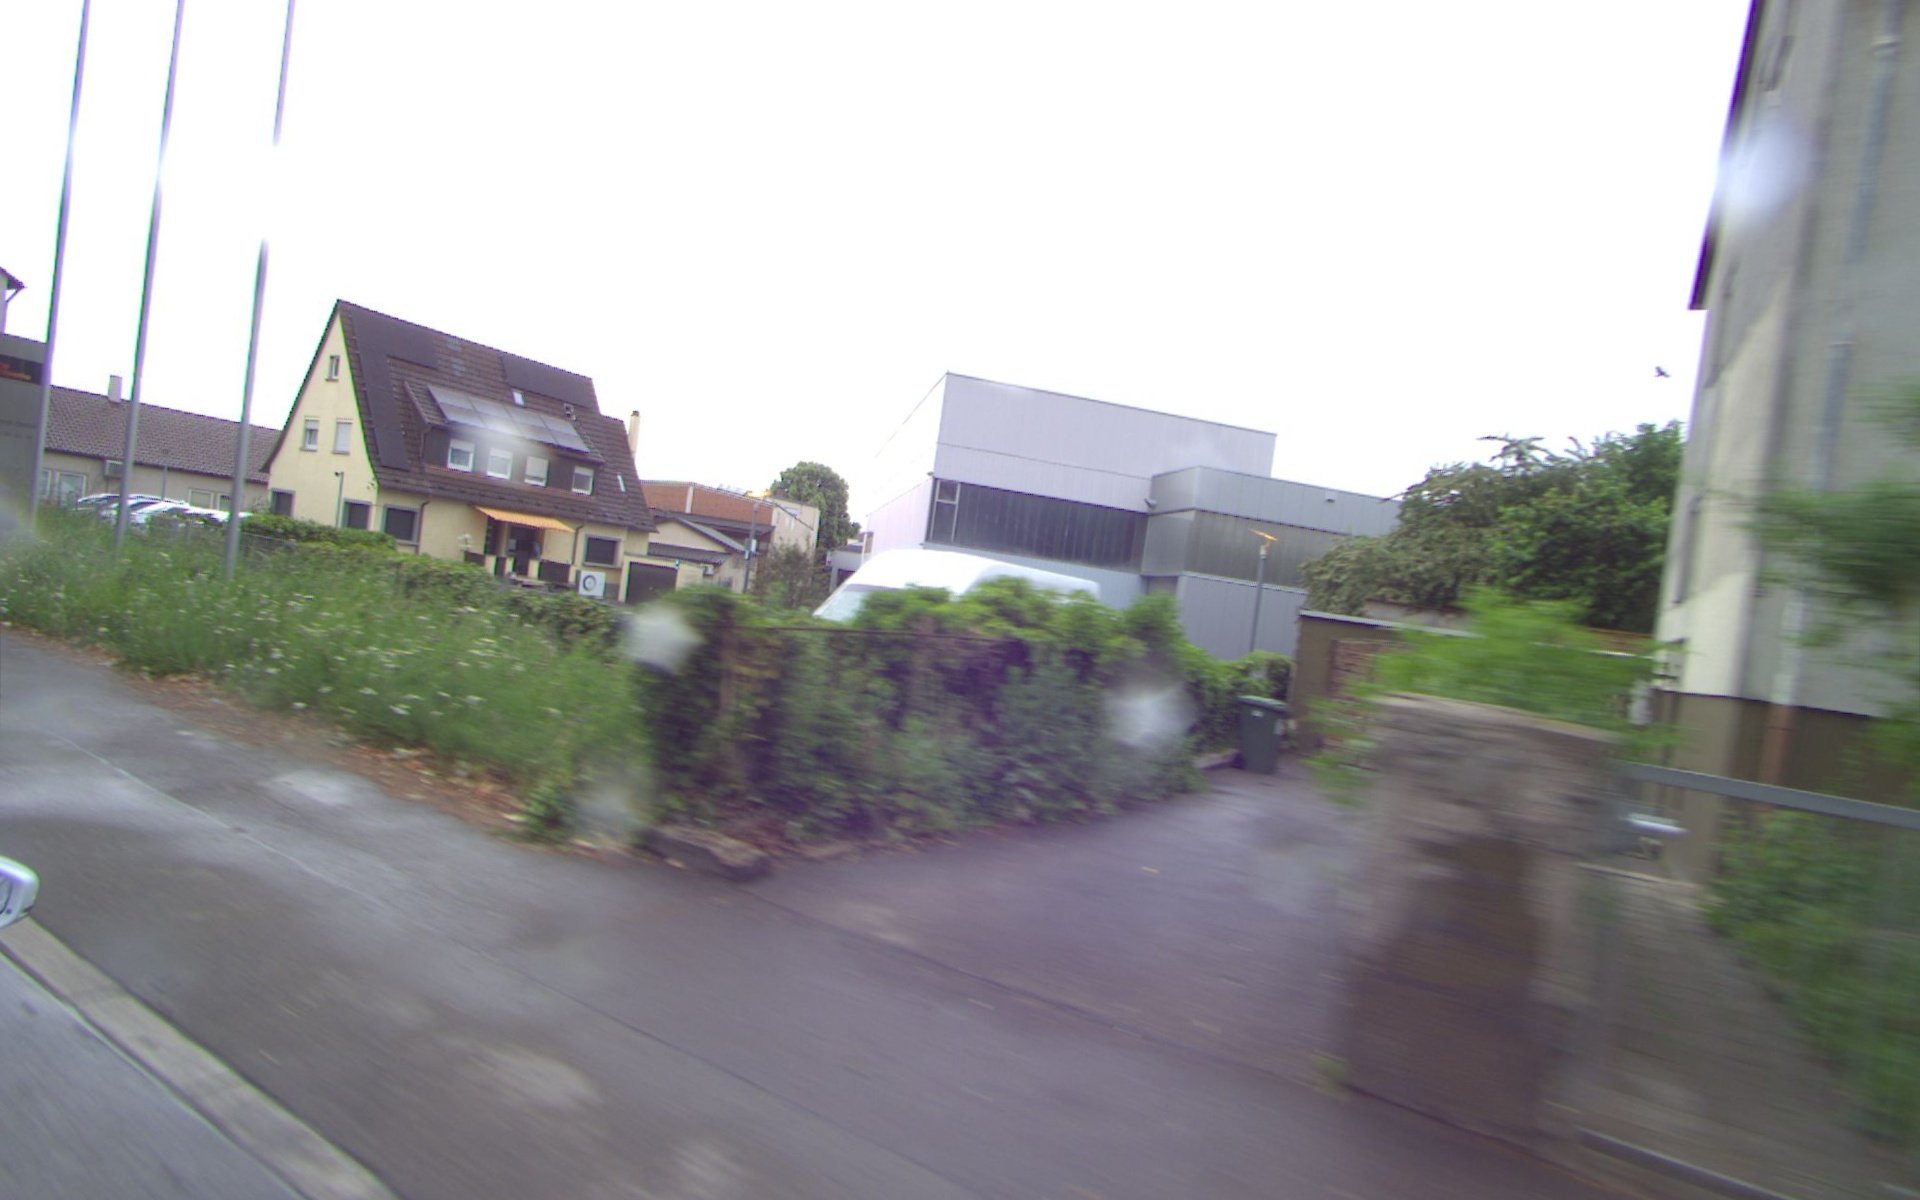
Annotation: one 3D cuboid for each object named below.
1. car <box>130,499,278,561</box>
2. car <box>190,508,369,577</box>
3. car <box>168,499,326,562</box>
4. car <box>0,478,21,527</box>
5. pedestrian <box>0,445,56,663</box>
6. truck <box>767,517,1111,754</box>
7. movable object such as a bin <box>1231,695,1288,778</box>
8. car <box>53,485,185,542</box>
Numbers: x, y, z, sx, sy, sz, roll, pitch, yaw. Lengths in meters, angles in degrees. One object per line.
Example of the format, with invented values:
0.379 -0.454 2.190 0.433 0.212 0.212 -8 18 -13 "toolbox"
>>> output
-27.133 -2.484 36.241 1.728 1.550 3.775 7 -2 28 "car"
-22.723 -1.869 33.775 1.838 1.646 4.509 7 0 31 "car"
-25.028 -2.404 35.466 1.966 1.485 3.997 6 -3 30 "car"
-33.821 -3.499 34.163 3.567 1.548 1.812 6 -2 31 "car"
-8.974 -0.458 8.951 0.886 1.920 1.044 6 0 31 "pedestrian"
0.041 0.670 14.677 2.010 2.667 5.858 6 -3 31 "truck"
4.303 1.945 14.449 0.603 1.087 0.395 6 -1 30 "movable object such as a bin"
-34.691 -3.541 41.579 3.974 1.611 1.800 9 -3 -42 "car"
